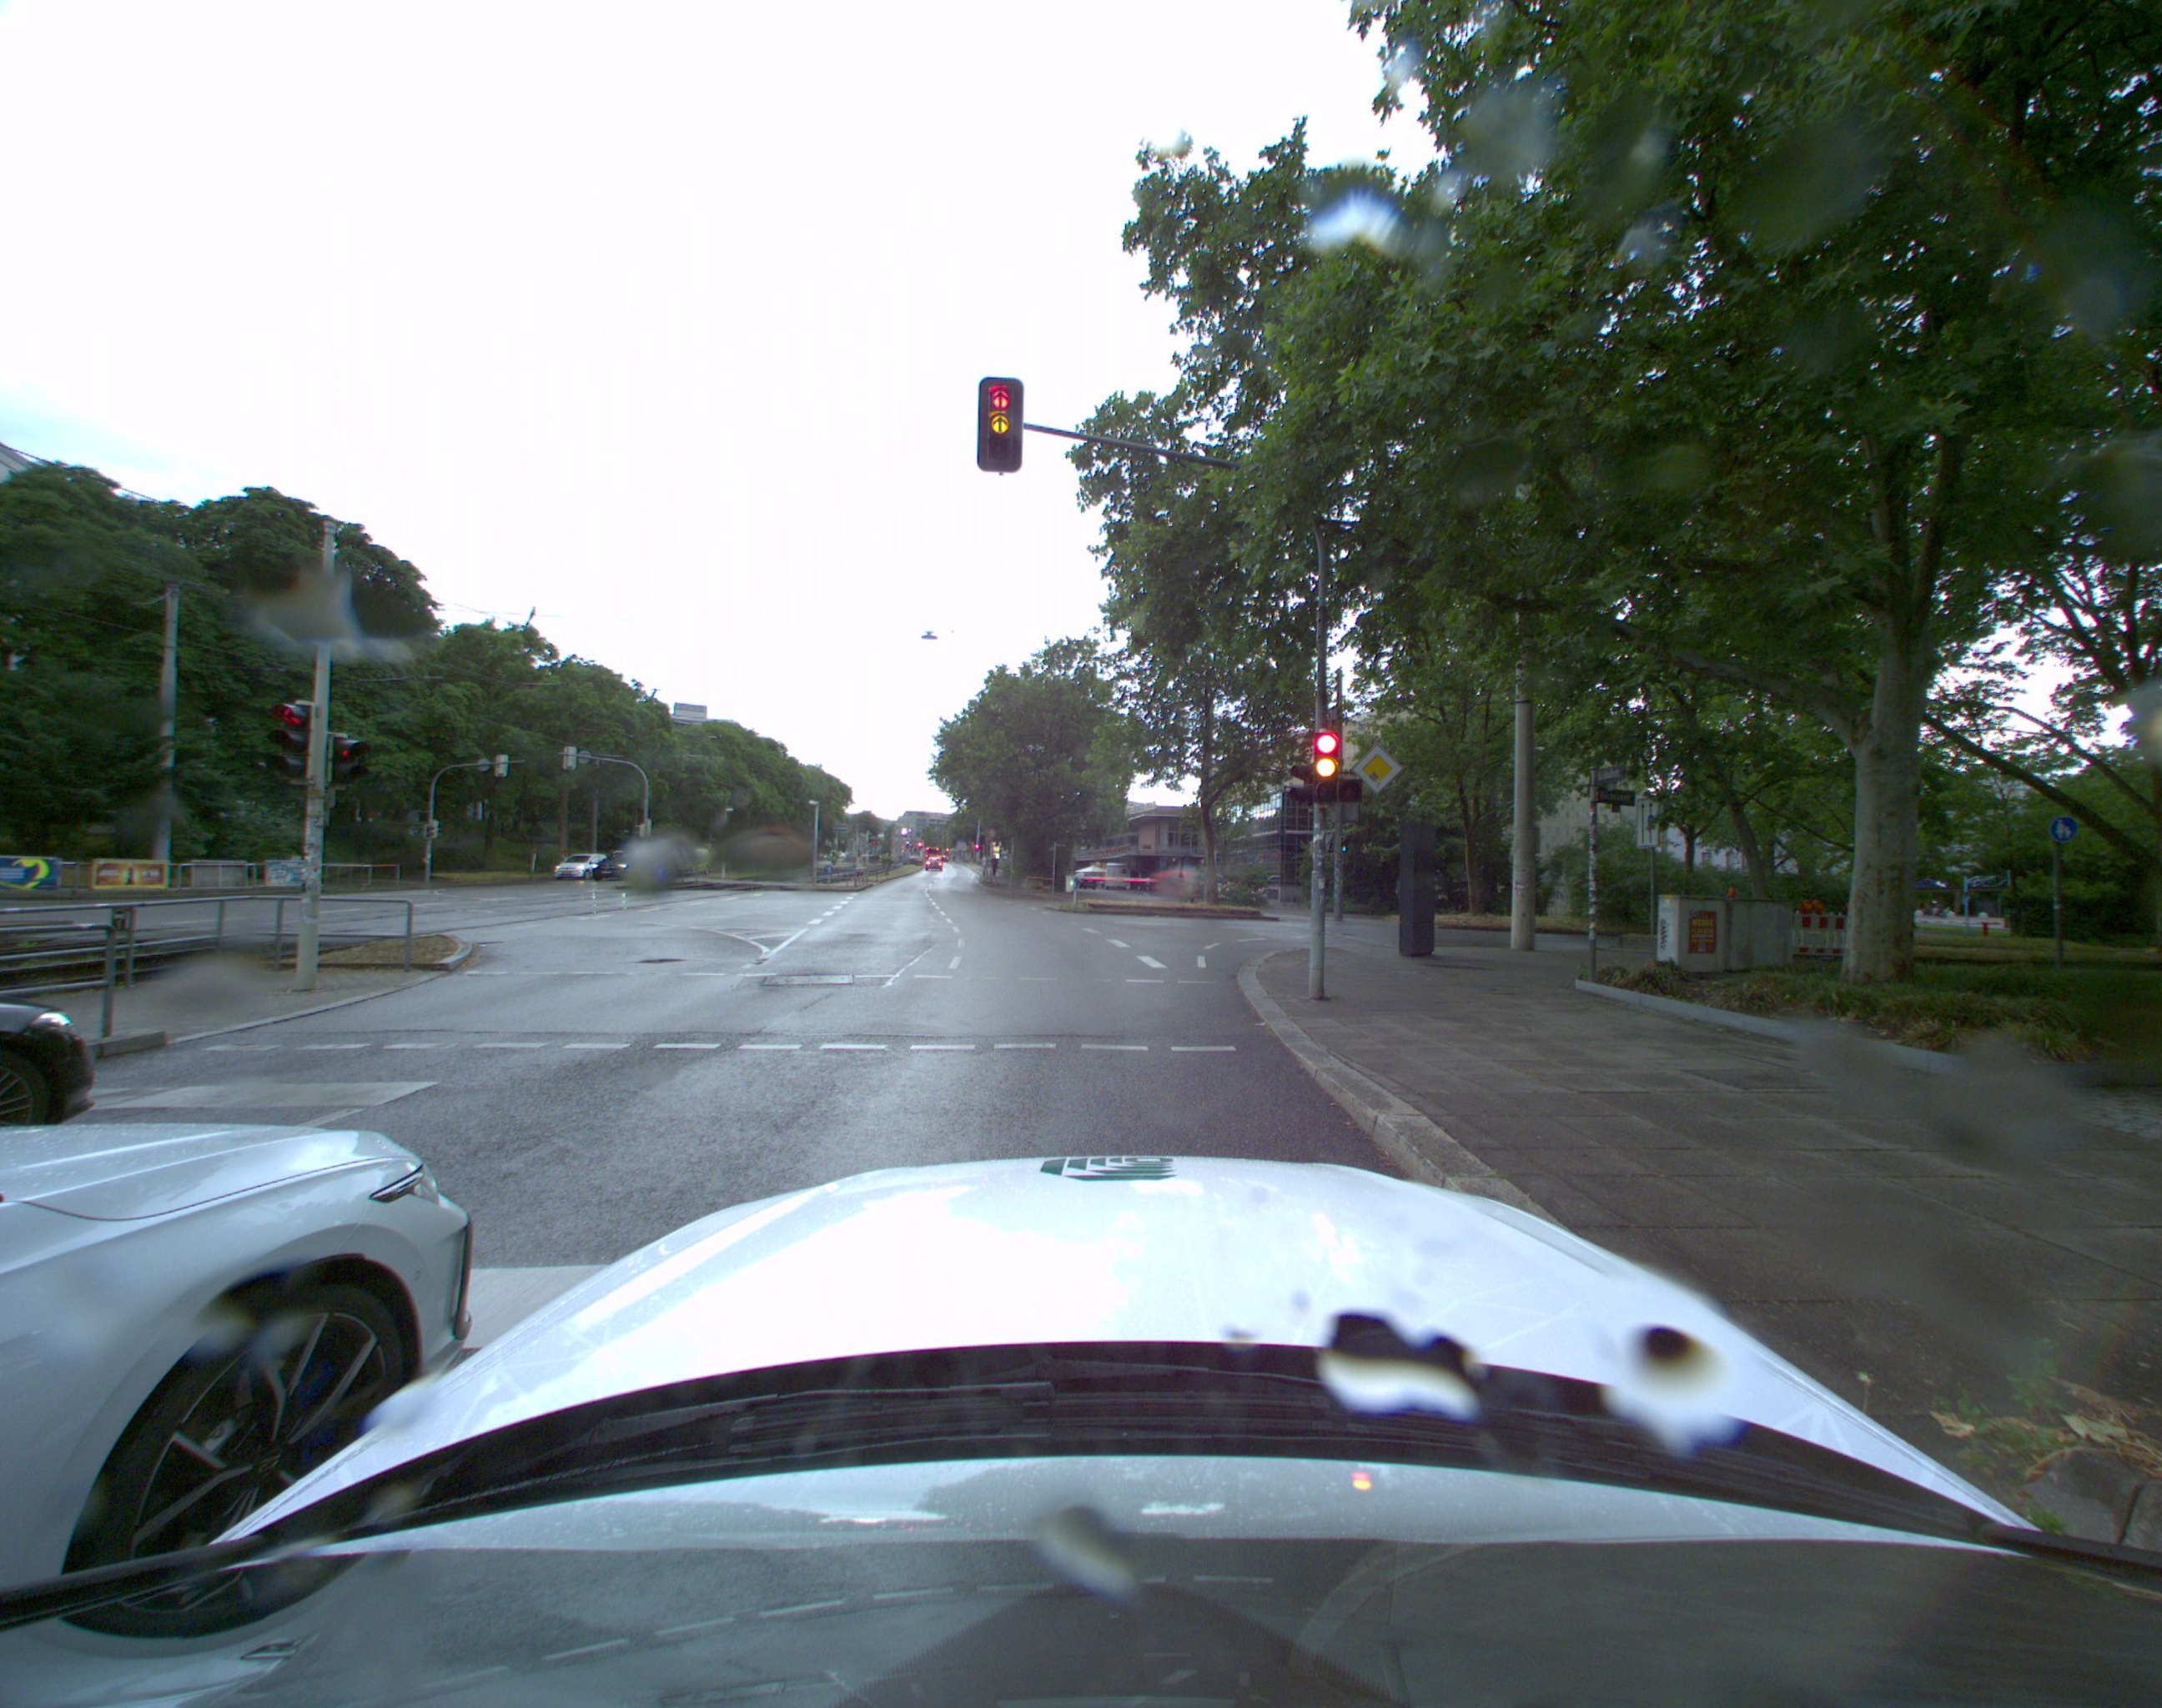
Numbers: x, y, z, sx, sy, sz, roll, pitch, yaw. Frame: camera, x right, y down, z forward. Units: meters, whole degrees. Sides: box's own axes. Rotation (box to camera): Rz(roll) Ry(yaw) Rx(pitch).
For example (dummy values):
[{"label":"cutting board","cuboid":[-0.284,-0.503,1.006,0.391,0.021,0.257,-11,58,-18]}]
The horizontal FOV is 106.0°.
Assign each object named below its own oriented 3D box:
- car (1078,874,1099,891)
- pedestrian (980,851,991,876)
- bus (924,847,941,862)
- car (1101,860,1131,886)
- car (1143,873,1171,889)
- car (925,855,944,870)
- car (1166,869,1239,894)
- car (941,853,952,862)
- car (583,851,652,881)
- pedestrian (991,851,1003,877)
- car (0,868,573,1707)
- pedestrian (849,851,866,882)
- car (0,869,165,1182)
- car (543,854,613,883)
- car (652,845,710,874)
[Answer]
[{"label":"car","cuboid":[0.855,3.062,88.065,2.010,1.551,4.355,2,0,4]},{"label":"pedestrian","cuboid":[-7.614,0.777,65.177,0.813,2.014,1.075,0,-1,-6]},{"label":"bus","cuboid":[-32.441,0.101,177.474,3.591,3.171,10.381,0,-1,-11]},{"label":"car","cuboid":[3.888,2.040,91.492,2.725,2.695,6.916,2,0,-2]},{"label":"car","cuboid":[8.281,2.905,89.169,2.020,1.551,4.334,2,0,-10]},{"label":"car","cuboid":[-15.952,0.941,88.840,1.993,1.519,4.336,0,-1,-9]},{"label":"car","cuboid":[9.273,2.120,62.115,5.221,1.731,1.860,2,-1,-23]},{"label":"car","cuboid":[-30.125,0.801,182.389,2.364,1.817,5.164,0,-1,-11]},{"label":"car","cuboid":[-25.783,0.670,45.449,1.917,1.546,3.674,1,-1,-5]},{"label":"pedestrian","cuboid":[-6.725,0.800,65.198,0.873,2.014,1.075,0,-1,-6]},{"label":"car","cuboid":[-2.520,0.754,0.263,1.789,1.442,4.477,0,0,2]},{"label":"pedestrian","cuboid":[-13.348,0.737,48.655,0.870,1.802,0.864,2,-1,-14]},{"label":"car","cuboid":[-5.968,0.795,2.217,1.789,1.442,4.477,0,0,2]},{"label":"car","cuboid":[-29.004,0.828,47.089,1.917,1.546,3.674,1,-1,-5]},{"label":"car","cuboid":[-26.474,0.393,54.121,1.917,1.851,4.558,1,-1,-5]}]
